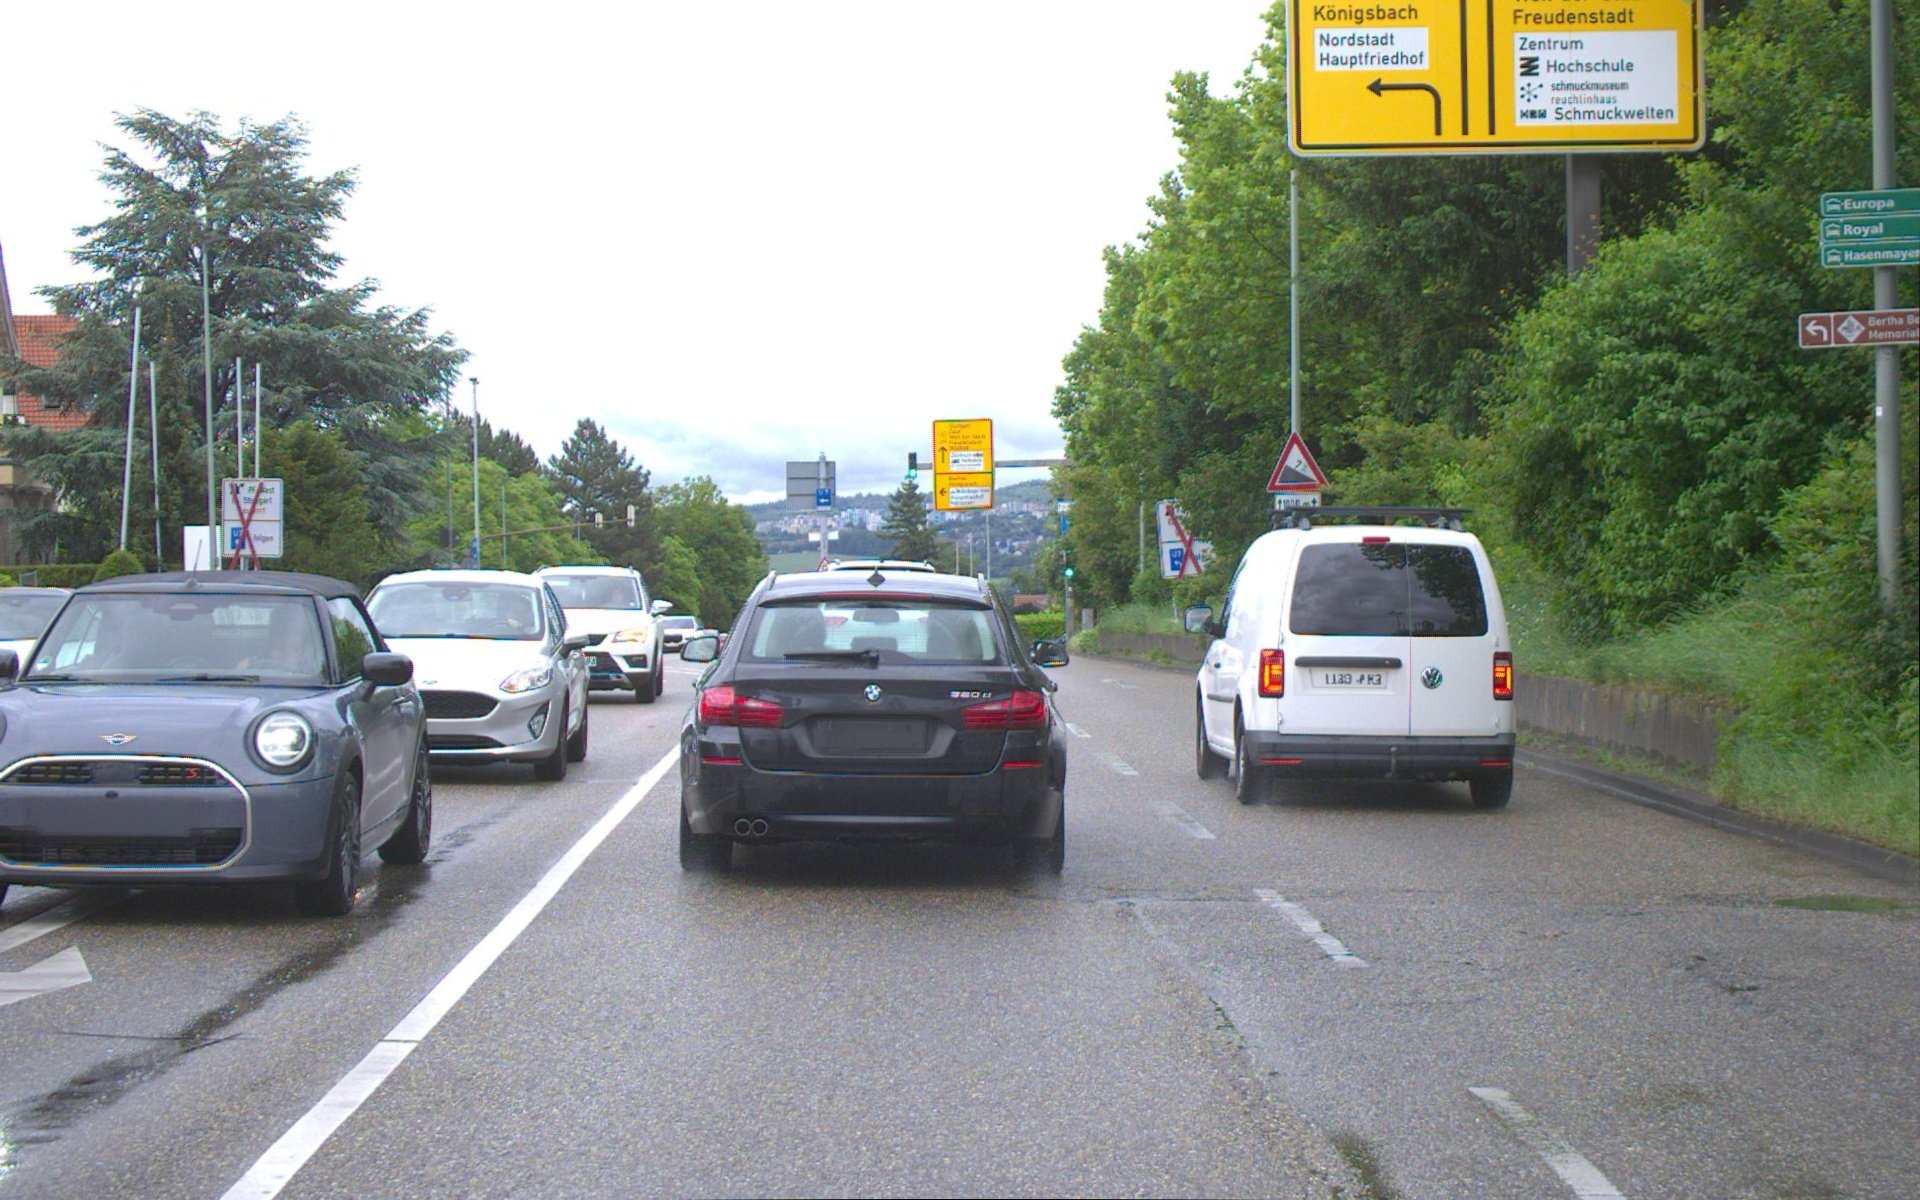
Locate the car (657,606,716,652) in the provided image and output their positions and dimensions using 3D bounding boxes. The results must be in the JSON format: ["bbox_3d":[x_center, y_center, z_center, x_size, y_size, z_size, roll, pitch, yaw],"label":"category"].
[{"bbox_3d":[-11.151,1.192,140.288,1.917,1.757,5.143,-3,0,0],"label":"car"}]

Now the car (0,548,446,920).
[{"bbox_3d":[-3.392,0.504,15.637,1.601,1.436,3.949,0,1,-1],"label":"car"}]

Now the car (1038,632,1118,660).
[{"bbox_3d":[5.912,2.290,172.036,3.987,1.372,1.585,0,-1,4],"label":"car"}]

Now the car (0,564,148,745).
[{"bbox_3d":[-8.543,0.454,30.310,1.637,1.472,4.045,-1,0,-29],"label":"car"}]

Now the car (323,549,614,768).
[{"bbox_3d":[-3.442,0.383,24.657,1.601,1.436,3.949,0,0,-1],"label":"car"}]

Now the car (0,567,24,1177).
[{"bbox_3d":[-3.031,0.651,6.188,1.632,1.429,4.144,-1,0,-1],"label":"car"}]

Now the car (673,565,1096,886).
[{"bbox_3d":[-0.351,0.551,17.495,1.899,1.436,4.000,0,0,0],"label":"car"}]

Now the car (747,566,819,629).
[{"bbox_3d":[-5.040,-0.103,98.368,1.868,1.668,4.000,0,2,0],"label":"car"}]

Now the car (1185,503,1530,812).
[{"bbox_3d":[2.565,0.301,23.006,1.764,1.871,3.806,0,2,-1],"label":"car"}]

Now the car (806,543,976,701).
[{"bbox_3d":[-0.769,0.214,39.913,1.868,1.668,4.000,0,2,0],"label":"car"}]

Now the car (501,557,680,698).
[{"bbox_3d":[-4.346,0.305,40.942,1.787,1.575,4.239,0,0,-2],"label":"car"}]
